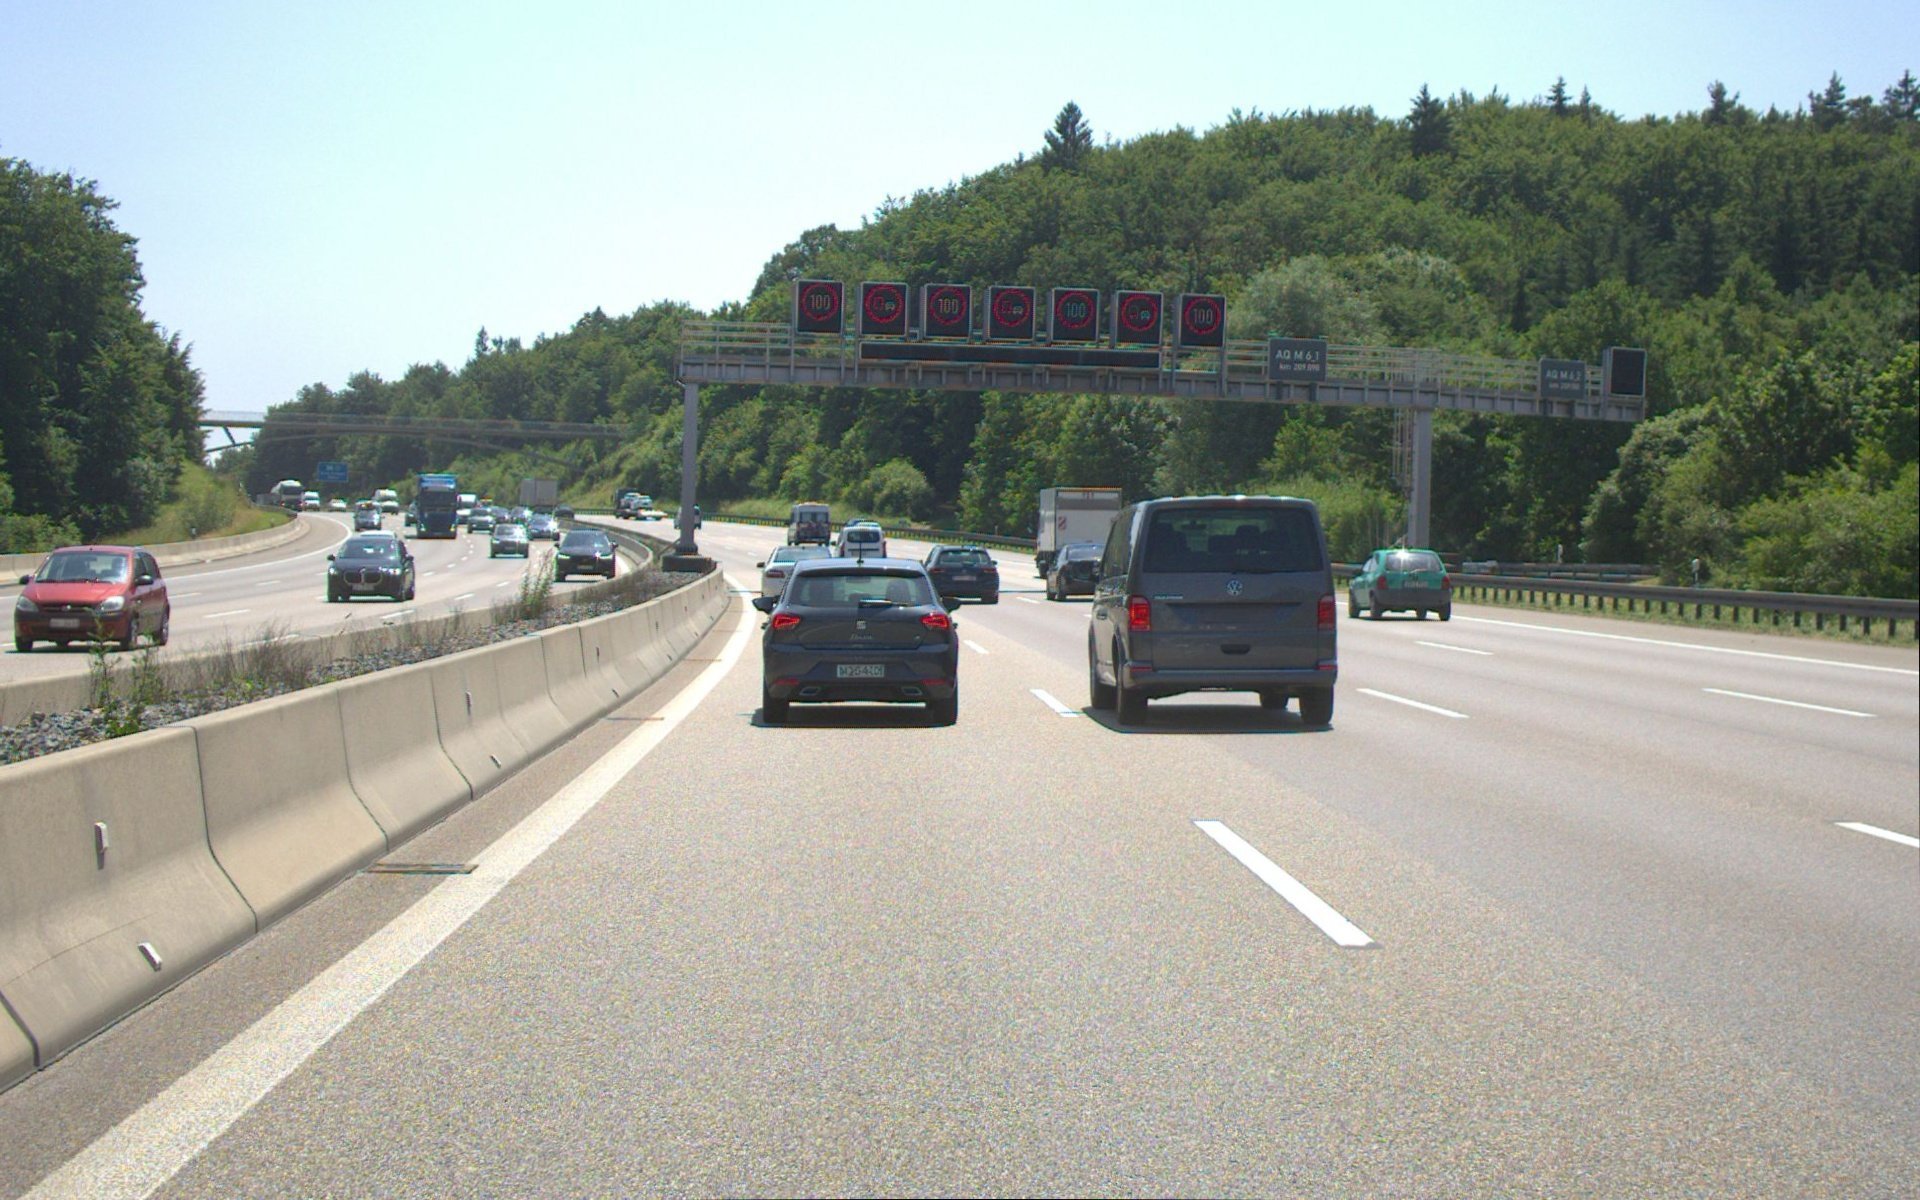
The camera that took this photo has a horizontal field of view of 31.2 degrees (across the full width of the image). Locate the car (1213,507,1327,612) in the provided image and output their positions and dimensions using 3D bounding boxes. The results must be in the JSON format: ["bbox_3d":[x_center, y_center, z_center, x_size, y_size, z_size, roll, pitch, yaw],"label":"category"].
[{"bbox_3d":[5.279,-0.682,58.844,1.849,1.722,3.999,0,0,4],"label":"car"}]

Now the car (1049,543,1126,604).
[{"bbox_3d":[3.248,-0.695,88.177,1.665,1.403,4.904,1,2,-1],"label":"car"}]

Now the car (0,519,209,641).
[{"bbox_3d":[-12.795,-0.312,51.067,2.287,1.722,5.031,0,1,-1],"label":"car"}]

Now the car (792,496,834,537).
[{"bbox_3d":[-8.564,-4.855,200.699,2.265,2.363,4.702,0,1,-1],"label":"car"}]

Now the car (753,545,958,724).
[{"bbox_3d":[-0.928,0.262,30.940,1.708,1.428,4.001,1,2,-1],"label":"car"}]

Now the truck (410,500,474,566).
[{"bbox_3d":[-33.488,-4.331,222.443,3.785,4.163,5.880,1,1,-6],"label":"truck"}]

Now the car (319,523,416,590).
[{"bbox_3d":[-14.475,-1.051,84.159,1.761,1.515,4.362,1,0,-3],"label":"car"}]

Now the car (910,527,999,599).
[{"bbox_3d":[-0.162,-0.900,85.069,1.993,1.722,4.149,0,0,-3],"label":"car"}]

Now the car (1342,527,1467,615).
[{"bbox_3d":[9.003,-0.601,69.862,1.993,1.722,4.000,0,1,0],"label":"car"}]

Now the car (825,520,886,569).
[{"bbox_3d":[-4.009,-2.122,130.780,2.103,1.738,4.689,0,2,-4],"label":"car"}]

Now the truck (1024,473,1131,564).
[{"bbox_3d":[4.178,-2.969,124.044,2.985,3.156,7.576,0,2,-5],"label":"truck"}]

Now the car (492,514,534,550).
[{"bbox_3d":[-21.457,-3.266,165.032,1.754,1.629,4.639,0,2,-5],"label":"car"}]

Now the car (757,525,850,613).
[{"bbox_3d":[-3.555,-0.678,77.566,2.012,1.839,4.000,0,-1,-3],"label":"car"}]

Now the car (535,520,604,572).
[{"bbox_3d":[-12.787,-1.790,112.810,1.993,1.662,4.435,0,1,-3],"label":"car"}]

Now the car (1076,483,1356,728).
[{"bbox_3d":[2.211,0.011,31.086,1.962,2.026,5.084,0,1,-2],"label":"car"}]
